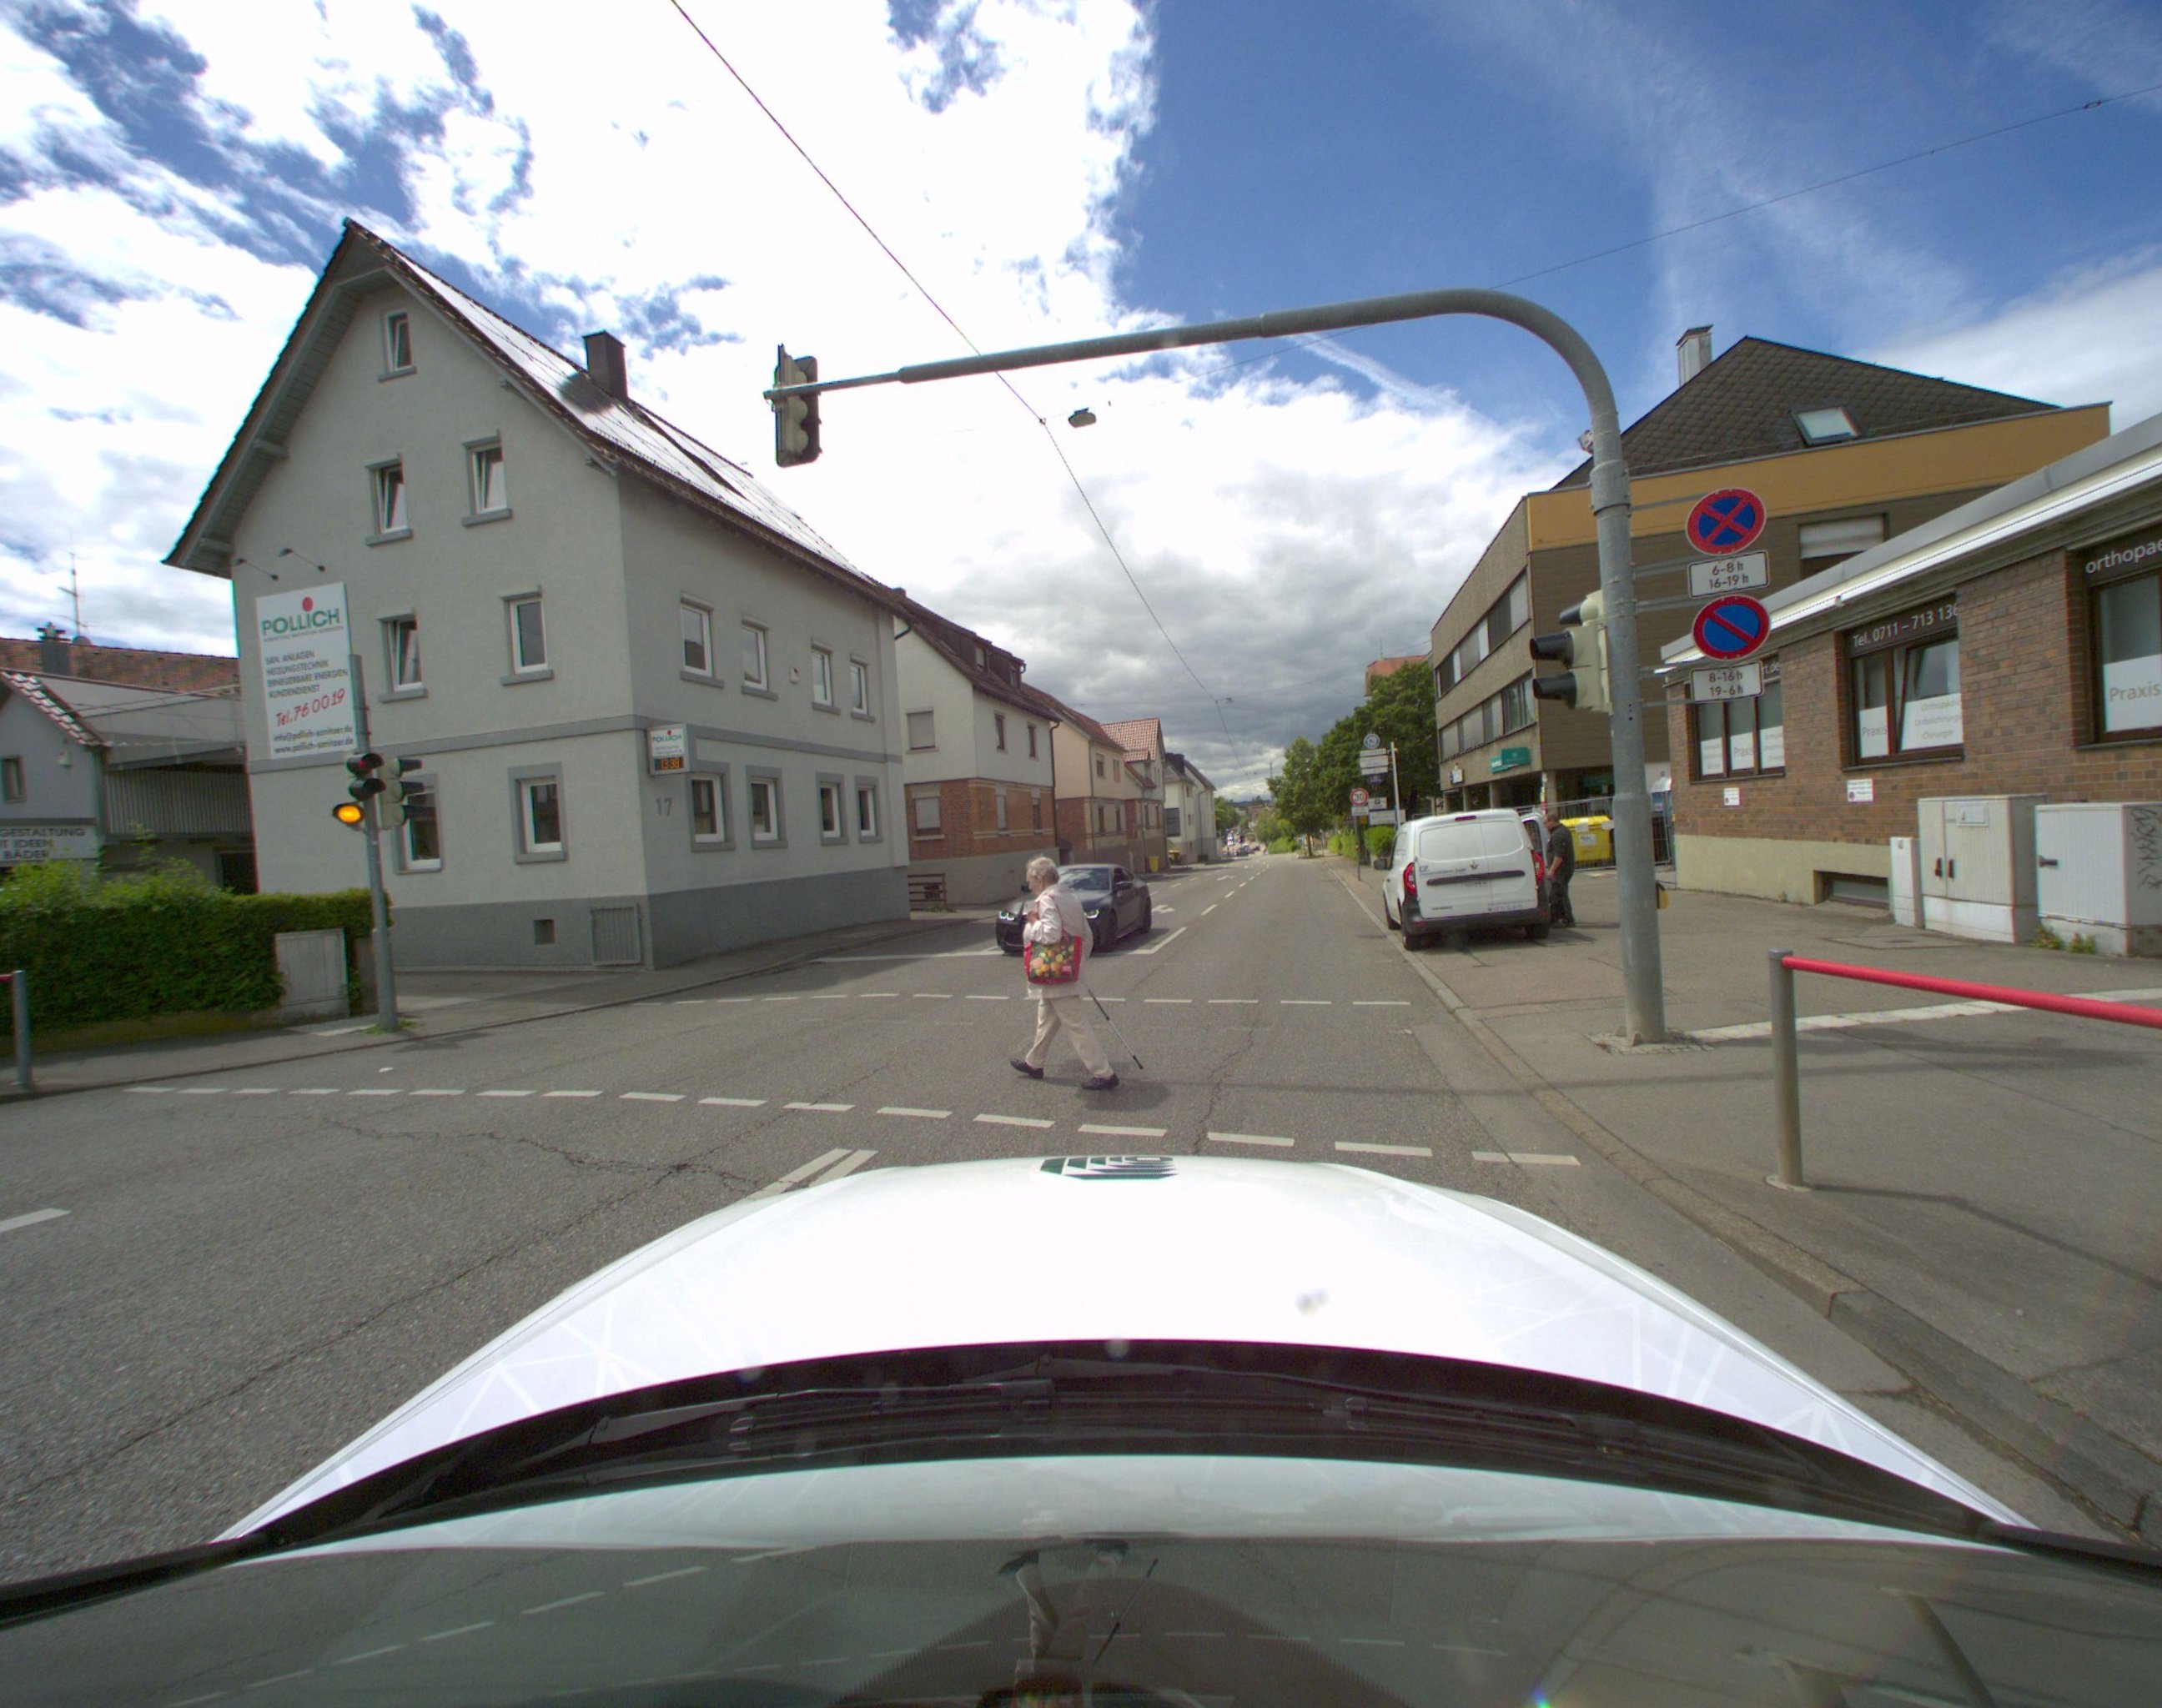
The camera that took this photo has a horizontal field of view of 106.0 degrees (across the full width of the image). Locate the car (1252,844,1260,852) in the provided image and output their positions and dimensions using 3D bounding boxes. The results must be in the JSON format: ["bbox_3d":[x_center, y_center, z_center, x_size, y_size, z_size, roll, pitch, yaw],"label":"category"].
[{"bbox_3d":[50.917,-1.678,236.901,1.981,2.013,4.012,-4,-1,11],"label":"car"}]

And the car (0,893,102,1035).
[{"bbox_3d":[-17.168,1.741,11.304,1.978,2.013,4.018,-4,0,17],"label":"car"}]

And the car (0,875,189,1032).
[{"bbox_3d":[-14.976,1.396,10.567,1.978,1.947,4.017,-5,0,16],"label":"car"}]

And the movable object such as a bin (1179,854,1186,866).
[{"bbox_3d":[9.120,0.507,73.063,0.528,1.030,0.457,-4,0,13],"label":"movable object such as a bin"}]

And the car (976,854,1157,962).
[{"bbox_3d":[-0.043,0.847,14.781,1.979,1.457,4.636,-5,0,15],"label":"car"}]

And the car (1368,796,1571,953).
[{"bbox_3d":[5.650,0.261,12.488,1.897,1.794,4.509,-7,-1,16],"label":"car"}]

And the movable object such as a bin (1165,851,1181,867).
[{"bbox_3d":[8.117,0.442,72.125,1.273,1.310,0.818,-4,0,9],"label":"movable object such as a bin"}]

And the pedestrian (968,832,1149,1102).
[{"bbox_3d":[-0.129,0.686,5.488,0.863,1.637,0.841,-2,0,26],"label":"pedestrian"}]

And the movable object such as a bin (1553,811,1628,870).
[{"bbox_3d":[14.101,-0.377,22.573,1.470,1.492,1.081,-4,2,18],"label":"movable object such as a bin"}]

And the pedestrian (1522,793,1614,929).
[{"bbox_3d":[6.883,0.100,11.551,0.837,1.803,0.653,-5,-1,14],"label":"pedestrian"}]

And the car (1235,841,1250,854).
[{"bbox_3d":[26.987,-1.152,136.422,1.983,2.013,4.007,-3,0,6],"label":"car"}]

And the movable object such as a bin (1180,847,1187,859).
[{"bbox_3d":[9.206,-0.084,73.406,0.528,1.030,0.457,-4,0,13],"label":"movable object such as a bin"}]

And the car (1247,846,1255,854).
[{"bbox_3d":[46.227,-0.947,221.882,1.981,2.013,4.012,-4,-1,11],"label":"car"}]

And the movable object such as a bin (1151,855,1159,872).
[{"bbox_3d":[5.112,0.646,56.204,0.428,1.128,0.300,-4,0,13],"label":"movable object such as a bin"}]

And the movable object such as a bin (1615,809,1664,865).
[{"bbox_3d":[15.183,-0.482,22.161,0.773,1.439,1.023,-4,2,18],"label":"movable object such as a bin"}]
